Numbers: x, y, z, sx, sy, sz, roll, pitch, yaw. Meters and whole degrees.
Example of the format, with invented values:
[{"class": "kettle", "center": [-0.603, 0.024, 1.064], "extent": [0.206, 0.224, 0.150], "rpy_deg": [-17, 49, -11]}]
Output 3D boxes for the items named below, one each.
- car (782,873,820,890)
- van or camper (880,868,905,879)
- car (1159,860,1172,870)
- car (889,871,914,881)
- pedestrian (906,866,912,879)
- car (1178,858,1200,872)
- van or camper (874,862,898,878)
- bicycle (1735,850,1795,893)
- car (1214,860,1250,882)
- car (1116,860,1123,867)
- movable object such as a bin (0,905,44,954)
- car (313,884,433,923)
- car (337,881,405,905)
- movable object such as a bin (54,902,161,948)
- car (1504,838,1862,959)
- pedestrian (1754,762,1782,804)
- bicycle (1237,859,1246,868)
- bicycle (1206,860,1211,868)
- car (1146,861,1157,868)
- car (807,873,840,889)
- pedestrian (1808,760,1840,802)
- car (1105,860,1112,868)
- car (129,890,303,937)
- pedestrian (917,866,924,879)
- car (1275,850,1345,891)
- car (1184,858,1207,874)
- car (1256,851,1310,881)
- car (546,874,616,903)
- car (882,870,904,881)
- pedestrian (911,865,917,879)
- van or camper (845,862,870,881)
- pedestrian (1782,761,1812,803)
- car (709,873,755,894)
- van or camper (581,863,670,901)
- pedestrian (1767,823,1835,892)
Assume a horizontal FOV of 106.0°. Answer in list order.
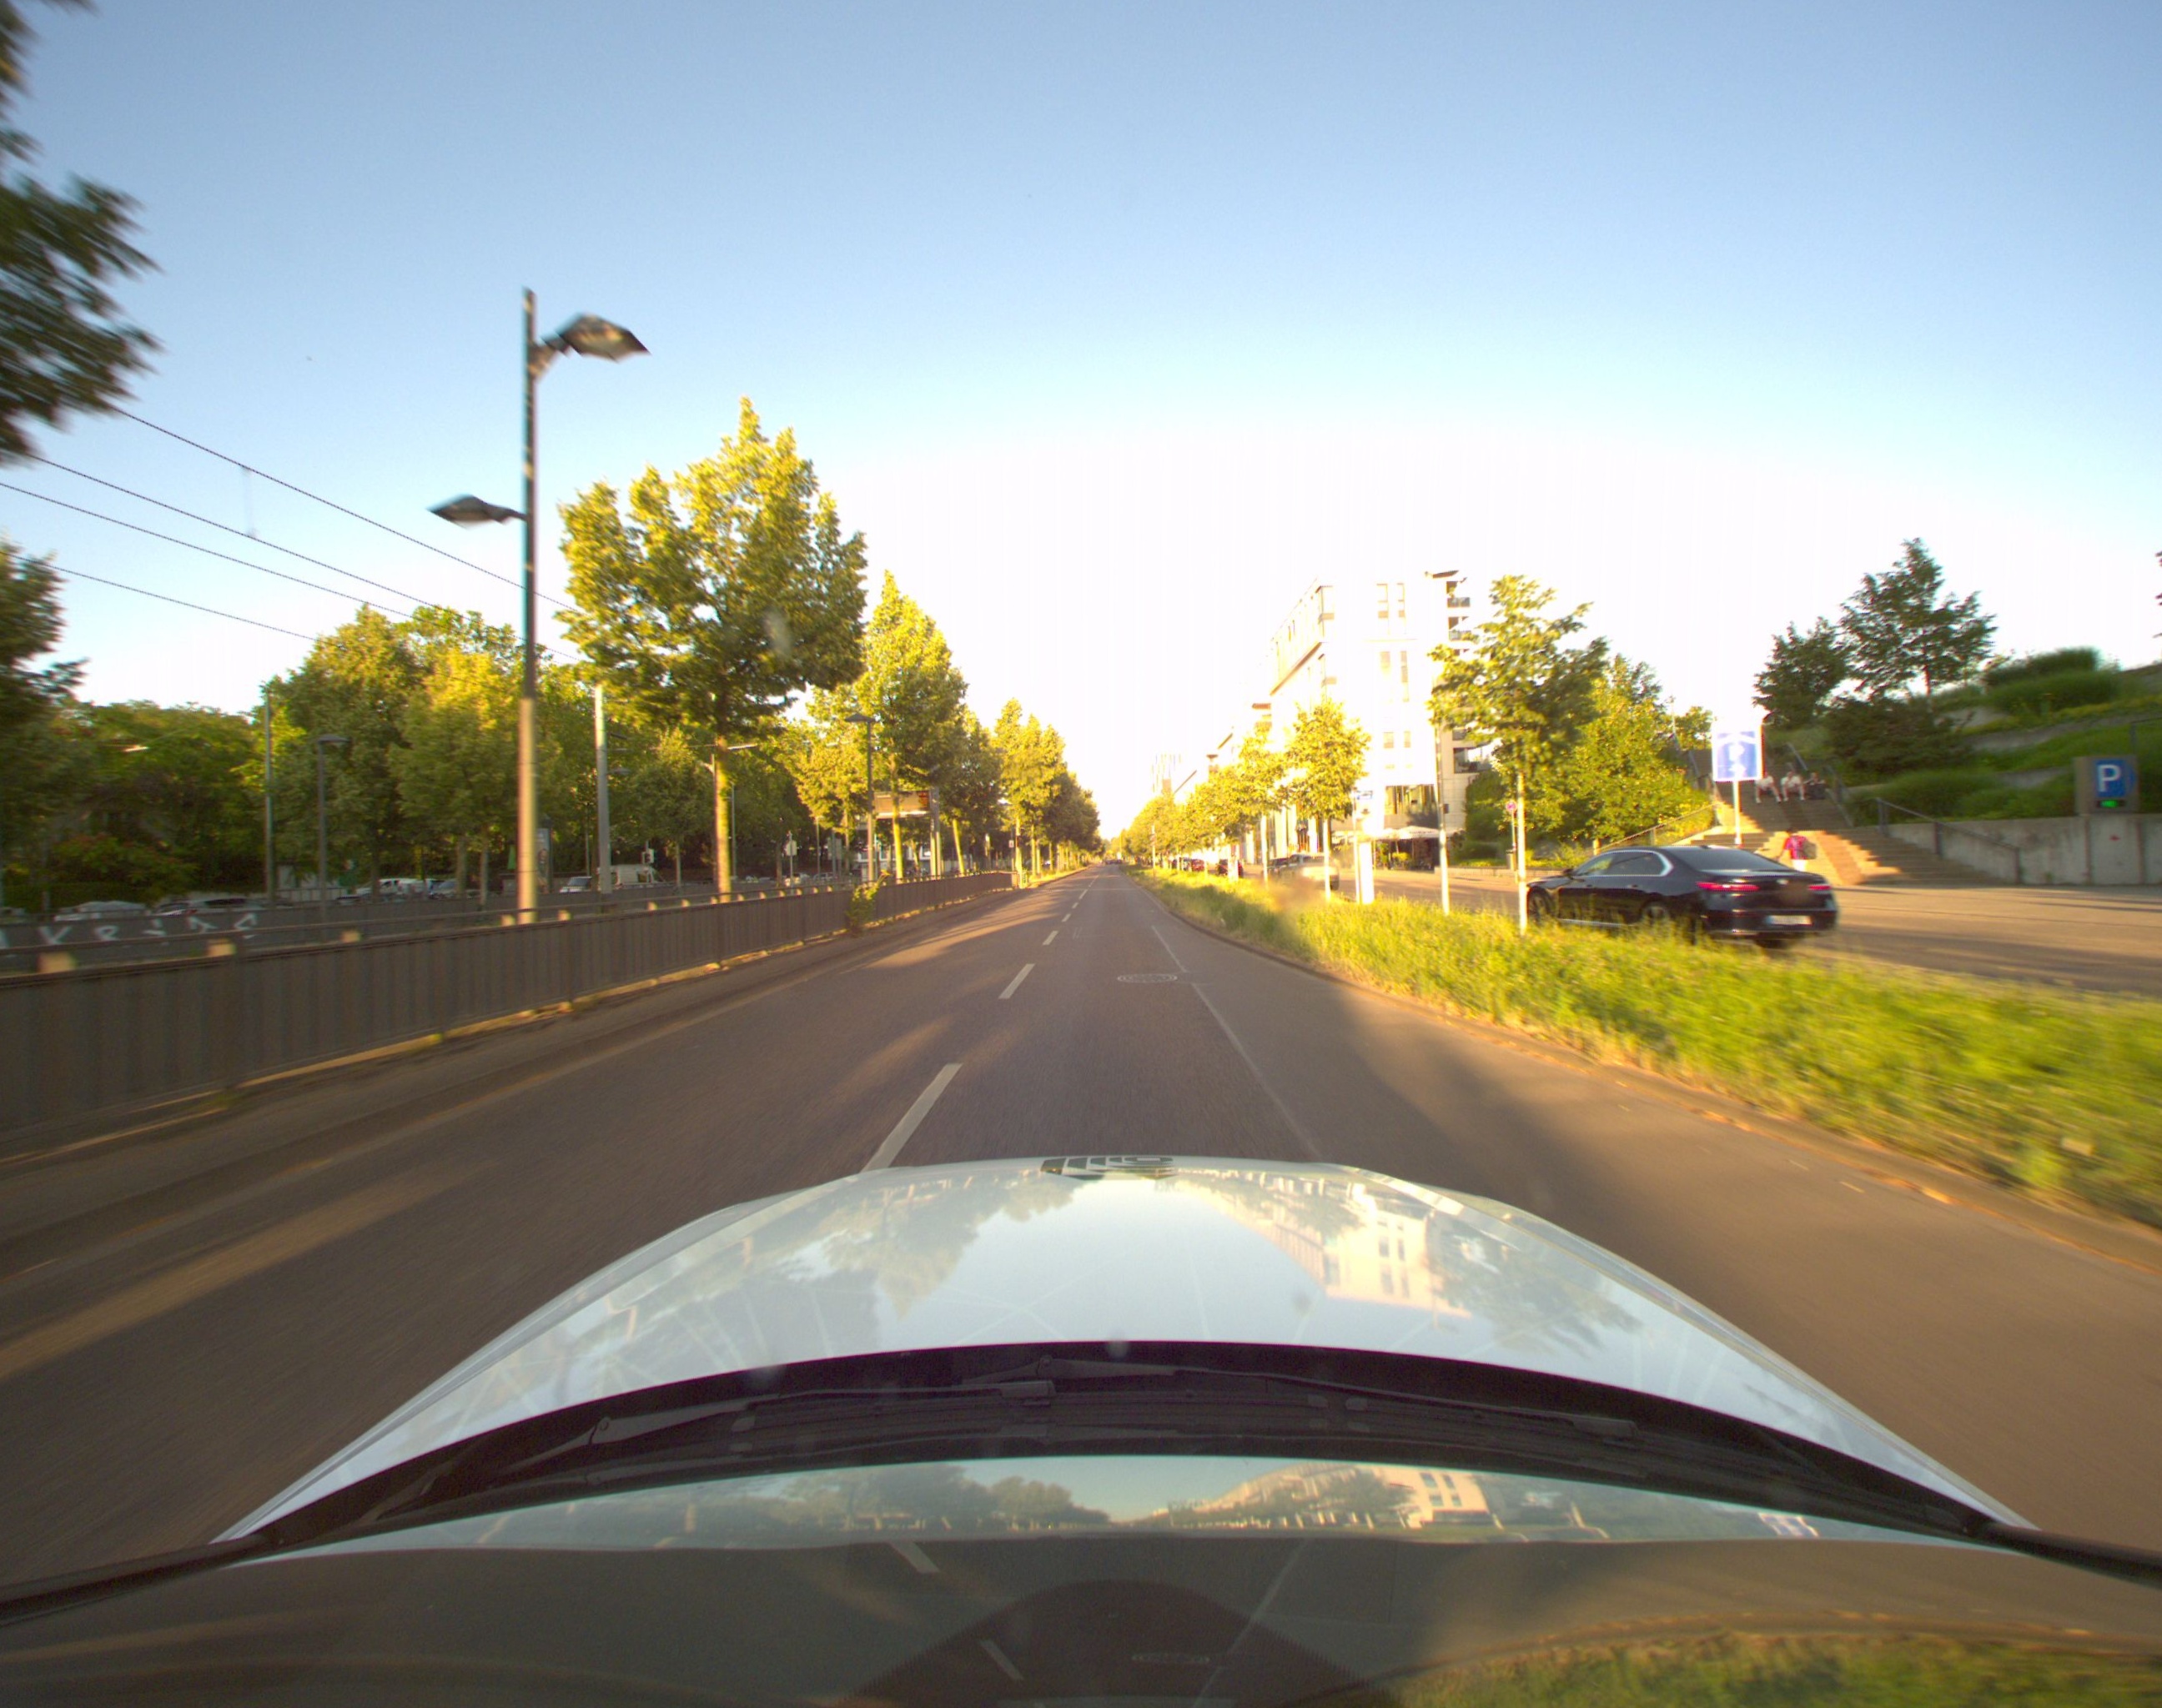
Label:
[{"class": "car", "center": [-27.722, 2.698, 80.778], "extent": [1.985, 1.499, 4.560], "rpy_deg": [-2, -1, 3]}, {"class": "van or camper", "center": [-33.006, 3.432, 142.882], "extent": [3.985, 1.791, 1.994], "rpy_deg": [-2, -1, -9]}, {"class": "car", "center": [13.560, 1.683, 130.879], "extent": [1.802, 1.501, 4.826], "rpy_deg": [-2, 0, 1]}, {"class": "car", "center": [-32.703, 3.967, 148.700], "extent": [3.964, 1.640, 1.927], "rpy_deg": [-2, -1, 8]}, {"class": "pedestrian", "center": [-23.902, 2.589, 113.172], "extent": [0.692, 1.759, 0.864], "rpy_deg": [-2, -1, -6]}, {"class": "car", "center": [11.920, 1.219, 90.089], "extent": [1.914, 1.501, 5.011], "rpy_deg": [-2, 0, 1]}, {"class": "van or camper", "center": [-40.485, 3.244, 169.248], "extent": [2.697, 3.085, 6.272], "rpy_deg": [-2, -1, 6]}, {"class": "bicycle", "center": [17.236, 0.423, 20.567], "extent": [0.538, 1.043, 1.922], "rpy_deg": [-2, -1, 21]}, {"class": "car", "center": [10.821, 1.179, 58.500], "extent": [1.802, 1.501, 4.369], "rpy_deg": [-2, 0, 1]}, {"class": "car", "center": [11.430, 2.774, 244.277], "extent": [1.986, 2.014, 4.001], "rpy_deg": [-2, -1, 1]}, {"class": "movable object such as a bin", "center": [-33.407, 2.340, 24.822], "extent": [1.402, 1.411, 1.703], "rpy_deg": [-2, -1, 3]}, {"class": "car", "center": [-32.569, 2.250, 37.631], "extent": [1.802, 1.531, 4.057], "rpy_deg": [-2, -1, 3]}, {"class": "car", "center": [-58.494, 3.191, 67.158], "extent": [1.986, 1.750, 4.001], "rpy_deg": [-2, -1, 2]}, {"class": "movable object such as a bin", "center": [-33.075, 2.407, 27.715], "extent": [1.546, 1.372, 1.726], "rpy_deg": [-2, -1, 3]}, {"class": "car", "center": [9.238, 0.599, 13.316], "extent": [1.913, 1.501, 5.412], "rpy_deg": [-2, 0, 1]}, {"class": "pedestrian", "center": [24.510, -2.525, 29.063], "extent": [0.661, 1.381, 0.832], "rpy_deg": [-1, 0, 33]}, {"class": "bicycle", "center": [18.895, 1.155, 96.123], "extent": [0.618, 1.033, 2.261], "rpy_deg": [-2, -1, 1]}, {"class": "bicycle", "center": [20.970, 1.625, 134.411], "extent": [0.536, 1.164, 1.782], "rpy_deg": [-4, -1, 3]}, {"class": "car", "center": [15.193, 2.243, 175.065], "extent": [1.937, 1.549, 4.811], "rpy_deg": [-2, -1, 0]}, {"class": "car", "center": [-27.312, 2.830, 86.481], "extent": [1.892, 1.499, 4.309], "rpy_deg": [-2, -1, 3]}, {"class": "pedestrian", "center": [25.811, -2.523, 28.299], "extent": [0.661, 1.381, 0.832], "rpy_deg": [-1, 0, 33]}, {"class": "car", "center": [8.240, 2.969, 242.629], "extent": [2.080, 2.014, 4.001], "rpy_deg": [-2, -1, 1]}, {"class": "car", "center": [-33.408, 2.257, 31.670], "extent": [1.985, 1.500, 4.303], "rpy_deg": [-2, -1, 3]}, {"class": "pedestrian", "center": [-22.322, 2.535, 113.201], "extent": [0.691, 1.743, 0.866], "rpy_deg": [-2, -1, 0]}, {"class": "car", "center": [9.935, 0.686, 35.670], "extent": [1.802, 1.632, 4.677], "rpy_deg": [-2, 0, 1]}, {"class": "car", "center": [11.570, 1.169, 82.292], "extent": [1.802, 1.501, 3.960], "rpy_deg": [-2, 0, 1]}, {"class": "car", "center": [10.120, 0.609, 41.075], "extent": [1.743, 1.398, 4.001], "rpy_deg": [-1, -1, 1]}, {"class": "car", "center": [-39.039, 2.667, 63.725], "extent": [1.984, 2.014, 5.066], "rpy_deg": [-2, -1, 5]}, {"class": "car", "center": [-27.070, 3.130, 117.366], "extent": [1.984, 1.486, 4.005], "rpy_deg": [-2, -1, 5]}, {"class": "pedestrian", "center": [-23.243, 2.527, 113.606], "extent": [0.692, 1.870, 0.864], "rpy_deg": [-2, -1, -6]}, {"class": "van or camper", "center": [-33.699, 2.583, 122.727], "extent": [2.078, 2.735, 5.494], "rpy_deg": [-2, -1, 0]}, {"class": "pedestrian", "center": [25.194, -2.524, 28.652], "extent": [0.661, 1.381, 0.832], "rpy_deg": [-1, 0, 33]}, {"class": "car", "center": [-29.168, 2.447, 68.165], "extent": [1.985, 1.640, 4.002], "rpy_deg": [-2, -1, 2]}, {"class": "van or camper", "center": [-31.043, 1.871, 55.813], "extent": [2.272, 2.365, 5.793], "rpy_deg": [-2, -1, 7]}, {"class": "pedestrian", "center": [18.007, 0.095, 20.391], "extent": [0.692, 1.655, 1.079], "rpy_deg": [-2, -1, 1]}]
